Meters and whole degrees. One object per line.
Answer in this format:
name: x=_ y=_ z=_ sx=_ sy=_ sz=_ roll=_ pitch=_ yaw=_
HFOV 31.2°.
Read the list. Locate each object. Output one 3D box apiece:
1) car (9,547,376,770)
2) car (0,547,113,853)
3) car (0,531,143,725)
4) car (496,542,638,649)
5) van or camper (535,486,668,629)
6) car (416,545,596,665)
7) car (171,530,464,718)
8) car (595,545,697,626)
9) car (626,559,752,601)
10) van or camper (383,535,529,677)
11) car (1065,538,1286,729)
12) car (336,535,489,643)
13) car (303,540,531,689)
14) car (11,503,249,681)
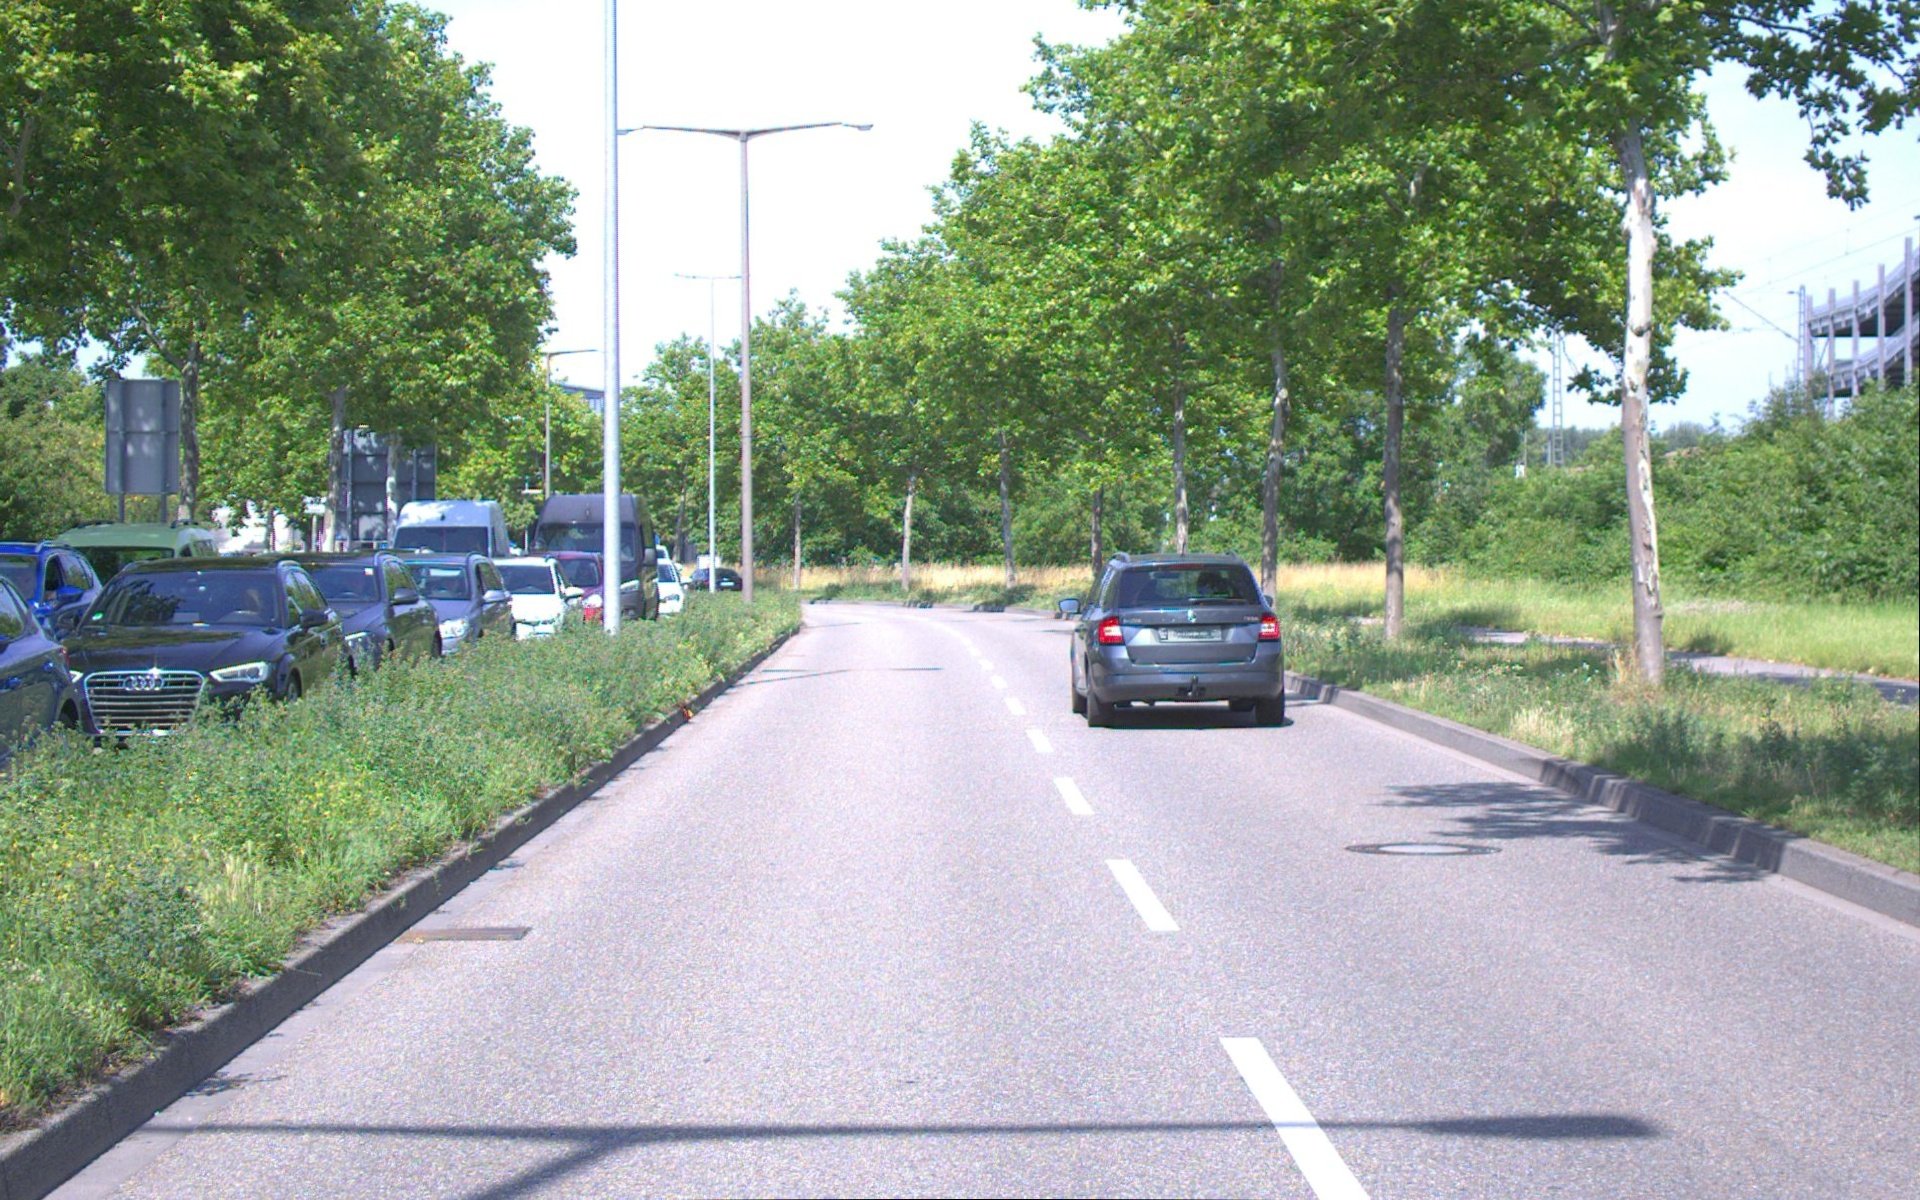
car: x=-5.517 y=0.356 z=25.250 sx=1.823 sy=1.460 sz=4.451 roll=-1 pitch=1 yaw=-2
car: x=-5.608 y=0.492 z=17.250 sx=1.784 sy=1.484 sz=4.212 roll=-1 pitch=1 yaw=-2
car: x=-8.715 y=0.203 z=31.039 sx=1.689 sy=1.626 sz=4.311 roll=0 pitch=1 yaw=-1
car: x=-5.770 y=-0.100 z=50.797 sx=1.689 sy=1.505 sz=3.815 roll=0 pitch=1 yaw=-1
van or camper: x=-6.196 y=-0.721 z=59.949 sx=1.938 sy=2.360 sz=5.399 roll=-1 pitch=0 yaw=-2
car: x=-5.795 y=0.027 z=44.374 sx=1.783 sy=1.454 sz=4.472 roll=0 pitch=1 yaw=-1
car: x=-5.888 y=0.161 z=32.074 sx=1.847 sy=1.602 sz=5.008 roll=0 pitch=1 yaw=-1
car: x=-6.129 y=-0.290 z=67.458 sx=1.689 sy=1.525 sz=3.815 roll=0 pitch=0 yaw=-1
car: x=-10.465 y=-0.790 z=132.632 sx=4.615 sy=1.458 sz=1.911 roll=2 pitch=3 yaw=32
van or camper: x=-9.541 y=0.054 z=65.471 sx=2.015 sy=2.579 sz=5.517 roll=0 pitch=1 yaw=-1
car: x=1.812 y=0.233 z=29.945 sx=1.674 sy=1.448 sz=4.036 roll=4 pitch=1 yaw=1
car: x=-9.215 y=-0.211 z=58.165 sx=1.993 sy=1.750 sz=4.000 roll=-1 pitch=1 yaw=-1
car: x=-5.972 y=0.111 z=38.300 sx=1.813 sy=1.525 sz=4.642 roll=-1 pitch=1 yaw=0
car: x=-9.107 y=-0.100 z=38.005 sx=1.689 sy=1.852 sz=4.037 roll=0 pitch=1 yaw=-1
